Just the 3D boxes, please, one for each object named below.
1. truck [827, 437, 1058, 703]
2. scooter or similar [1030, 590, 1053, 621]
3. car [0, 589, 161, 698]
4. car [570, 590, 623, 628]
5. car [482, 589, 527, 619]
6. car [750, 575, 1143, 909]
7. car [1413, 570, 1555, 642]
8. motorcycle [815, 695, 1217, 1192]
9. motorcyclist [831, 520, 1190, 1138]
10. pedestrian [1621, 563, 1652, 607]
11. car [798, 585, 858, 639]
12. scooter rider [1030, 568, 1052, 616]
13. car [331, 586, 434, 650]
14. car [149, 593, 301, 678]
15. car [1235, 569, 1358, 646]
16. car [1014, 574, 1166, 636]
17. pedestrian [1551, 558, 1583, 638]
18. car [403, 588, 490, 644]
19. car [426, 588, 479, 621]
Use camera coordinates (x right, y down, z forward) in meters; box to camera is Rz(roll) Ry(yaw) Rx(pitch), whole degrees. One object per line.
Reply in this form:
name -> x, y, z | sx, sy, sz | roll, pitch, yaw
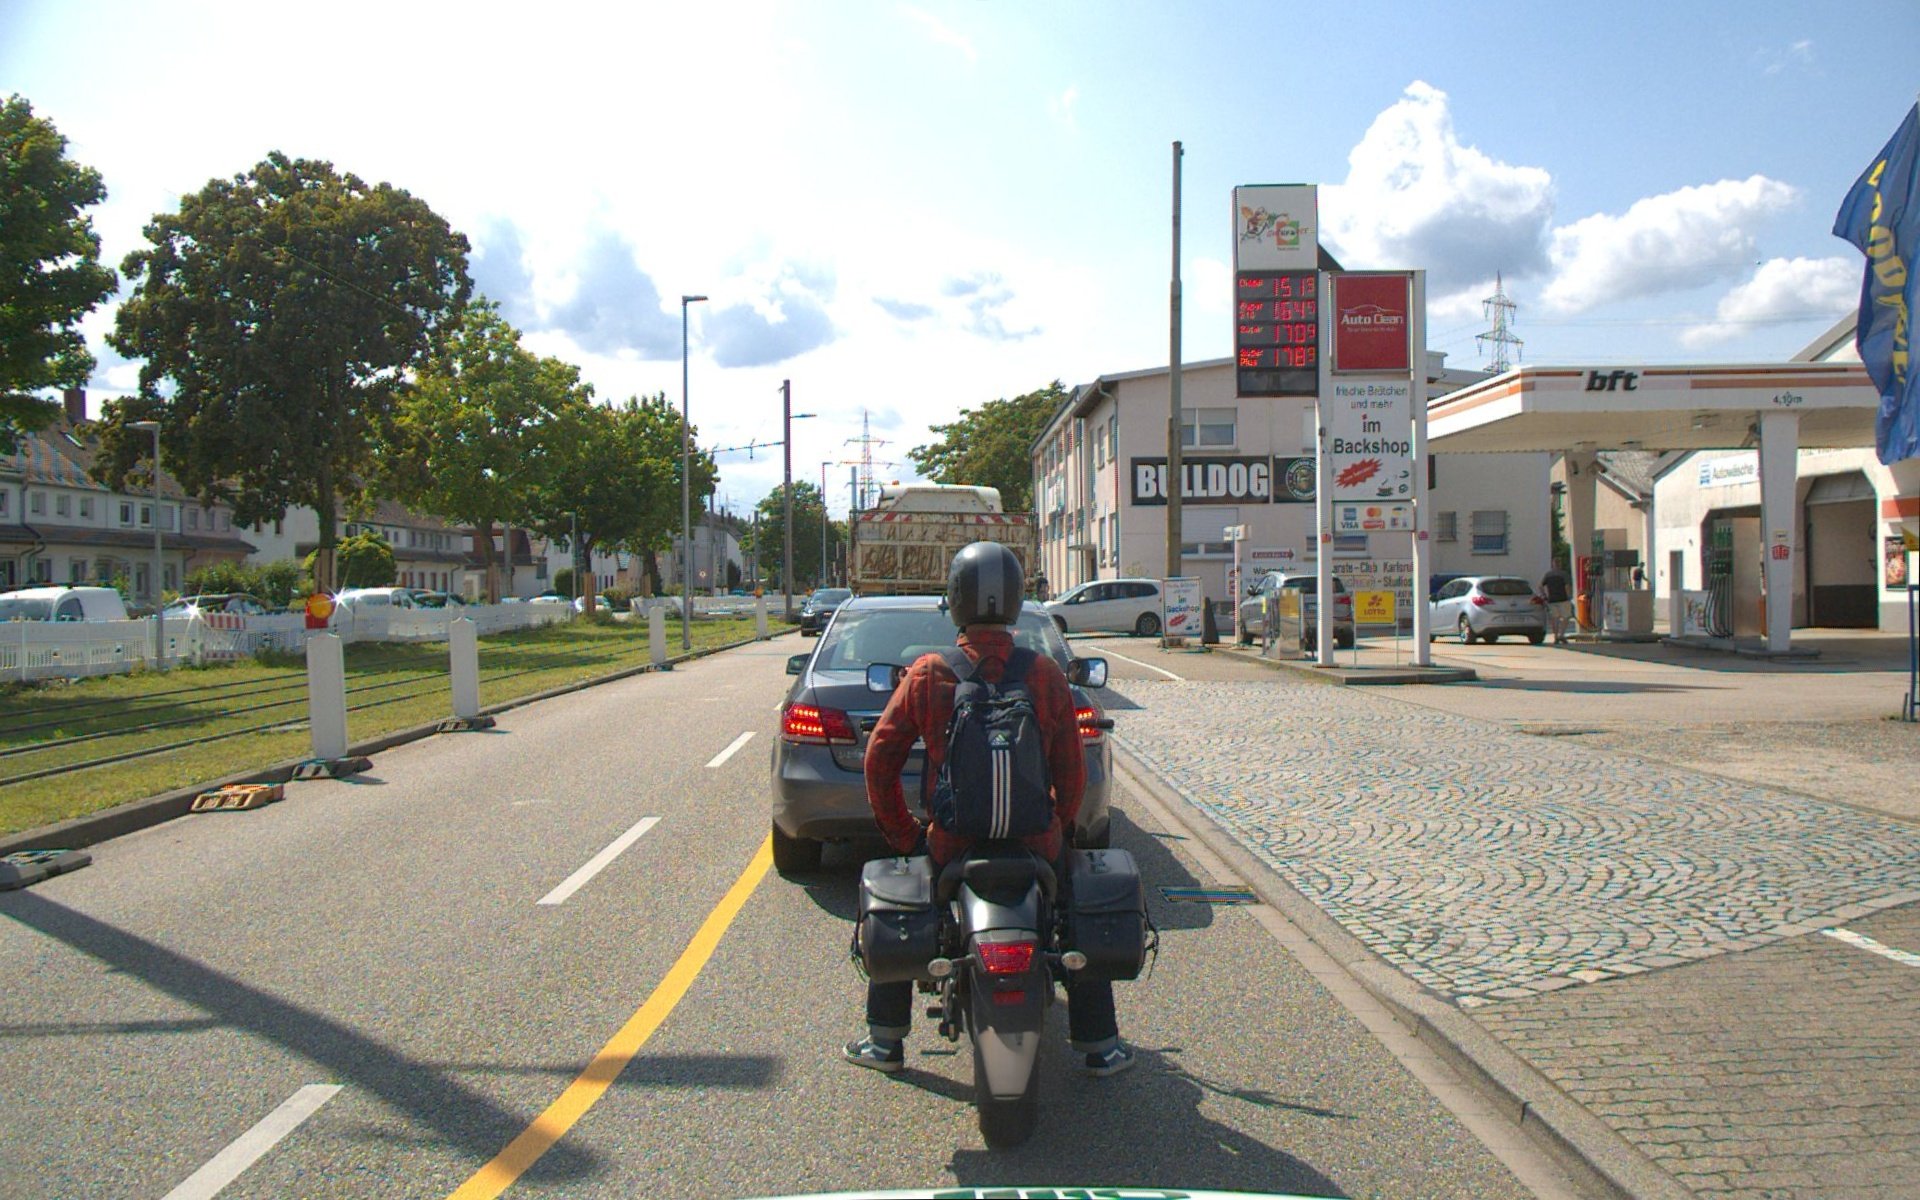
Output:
truck -> -0.355, -0.422, 25.472 | 2.910, 3.362, 8.404 | -1, 0, -2
scooter or similar -> 3.148, 0.192, 63.912 | 0.779, 1.165, 1.519 | -1, 0, -1
car -> -16.417, 0.742, 30.298 | 1.664, 1.849, 3.860 | -1, 0, -1
car -> -17.439, 0.408, 79.520 | 1.664, 1.770, 3.860 | -1, 0, -1
car -> -28.661, 0.233, 104.152 | 1.664, 1.770, 4.061 | -1, 0, -1
car -> -0.122, 0.639, 9.676 | 1.795, 1.505, 4.008 | -1, 0, -2
car -> 11.774, 0.104, 37.423 | 1.795, 1.505, 4.008 | -1, 0, -2
motorcycle -> 0.118, 0.898, 5.197 | 0.956, 1.031, 2.431 | 1, 0, -1
motorcyclist -> 0.129, 0.616, 5.079 | 0.950, 1.662, 1.214 | 1, 0, -1
pedestrian -> 25.207, -0.563, 61.655 | 0.848, 1.599, 0.806 | 1, -1, 2
car -> -4.216, 0.358, 53.391 | 1.646, 1.652, 4.118 | -1, 0, -1
scooter rider -> 3.136, -0.318, 63.913 | 0.779, 1.850, 0.508 | -1, 0, -1
car -> -16.921, 0.493, 48.619 | 1.664, 1.770, 3.860 | -1, 0, -1
car -> -16.671, 0.757, 37.721 | 1.664, 1.770, 4.053 | -1, 0, -1
car -> 7.403, 0.143, 36.758 | 1.795, 1.562, 4.008 | -1, 0, -2
car -> 3.672, 0.119, 47.087 | 4.029, 1.652, 1.682 | -1, 0, -9
pedestrian -> 13.136, -0.046, 35.794 | 0.621, 1.712, 0.622 | -1, 0, 20
car -> -17.018, 0.498, 54.985 | 1.664, 1.770, 3.860 | -1, 0, -1
car -> -28.179, 0.247, 91.939 | 1.664, 1.770, 4.061 | -1, 0, -1
